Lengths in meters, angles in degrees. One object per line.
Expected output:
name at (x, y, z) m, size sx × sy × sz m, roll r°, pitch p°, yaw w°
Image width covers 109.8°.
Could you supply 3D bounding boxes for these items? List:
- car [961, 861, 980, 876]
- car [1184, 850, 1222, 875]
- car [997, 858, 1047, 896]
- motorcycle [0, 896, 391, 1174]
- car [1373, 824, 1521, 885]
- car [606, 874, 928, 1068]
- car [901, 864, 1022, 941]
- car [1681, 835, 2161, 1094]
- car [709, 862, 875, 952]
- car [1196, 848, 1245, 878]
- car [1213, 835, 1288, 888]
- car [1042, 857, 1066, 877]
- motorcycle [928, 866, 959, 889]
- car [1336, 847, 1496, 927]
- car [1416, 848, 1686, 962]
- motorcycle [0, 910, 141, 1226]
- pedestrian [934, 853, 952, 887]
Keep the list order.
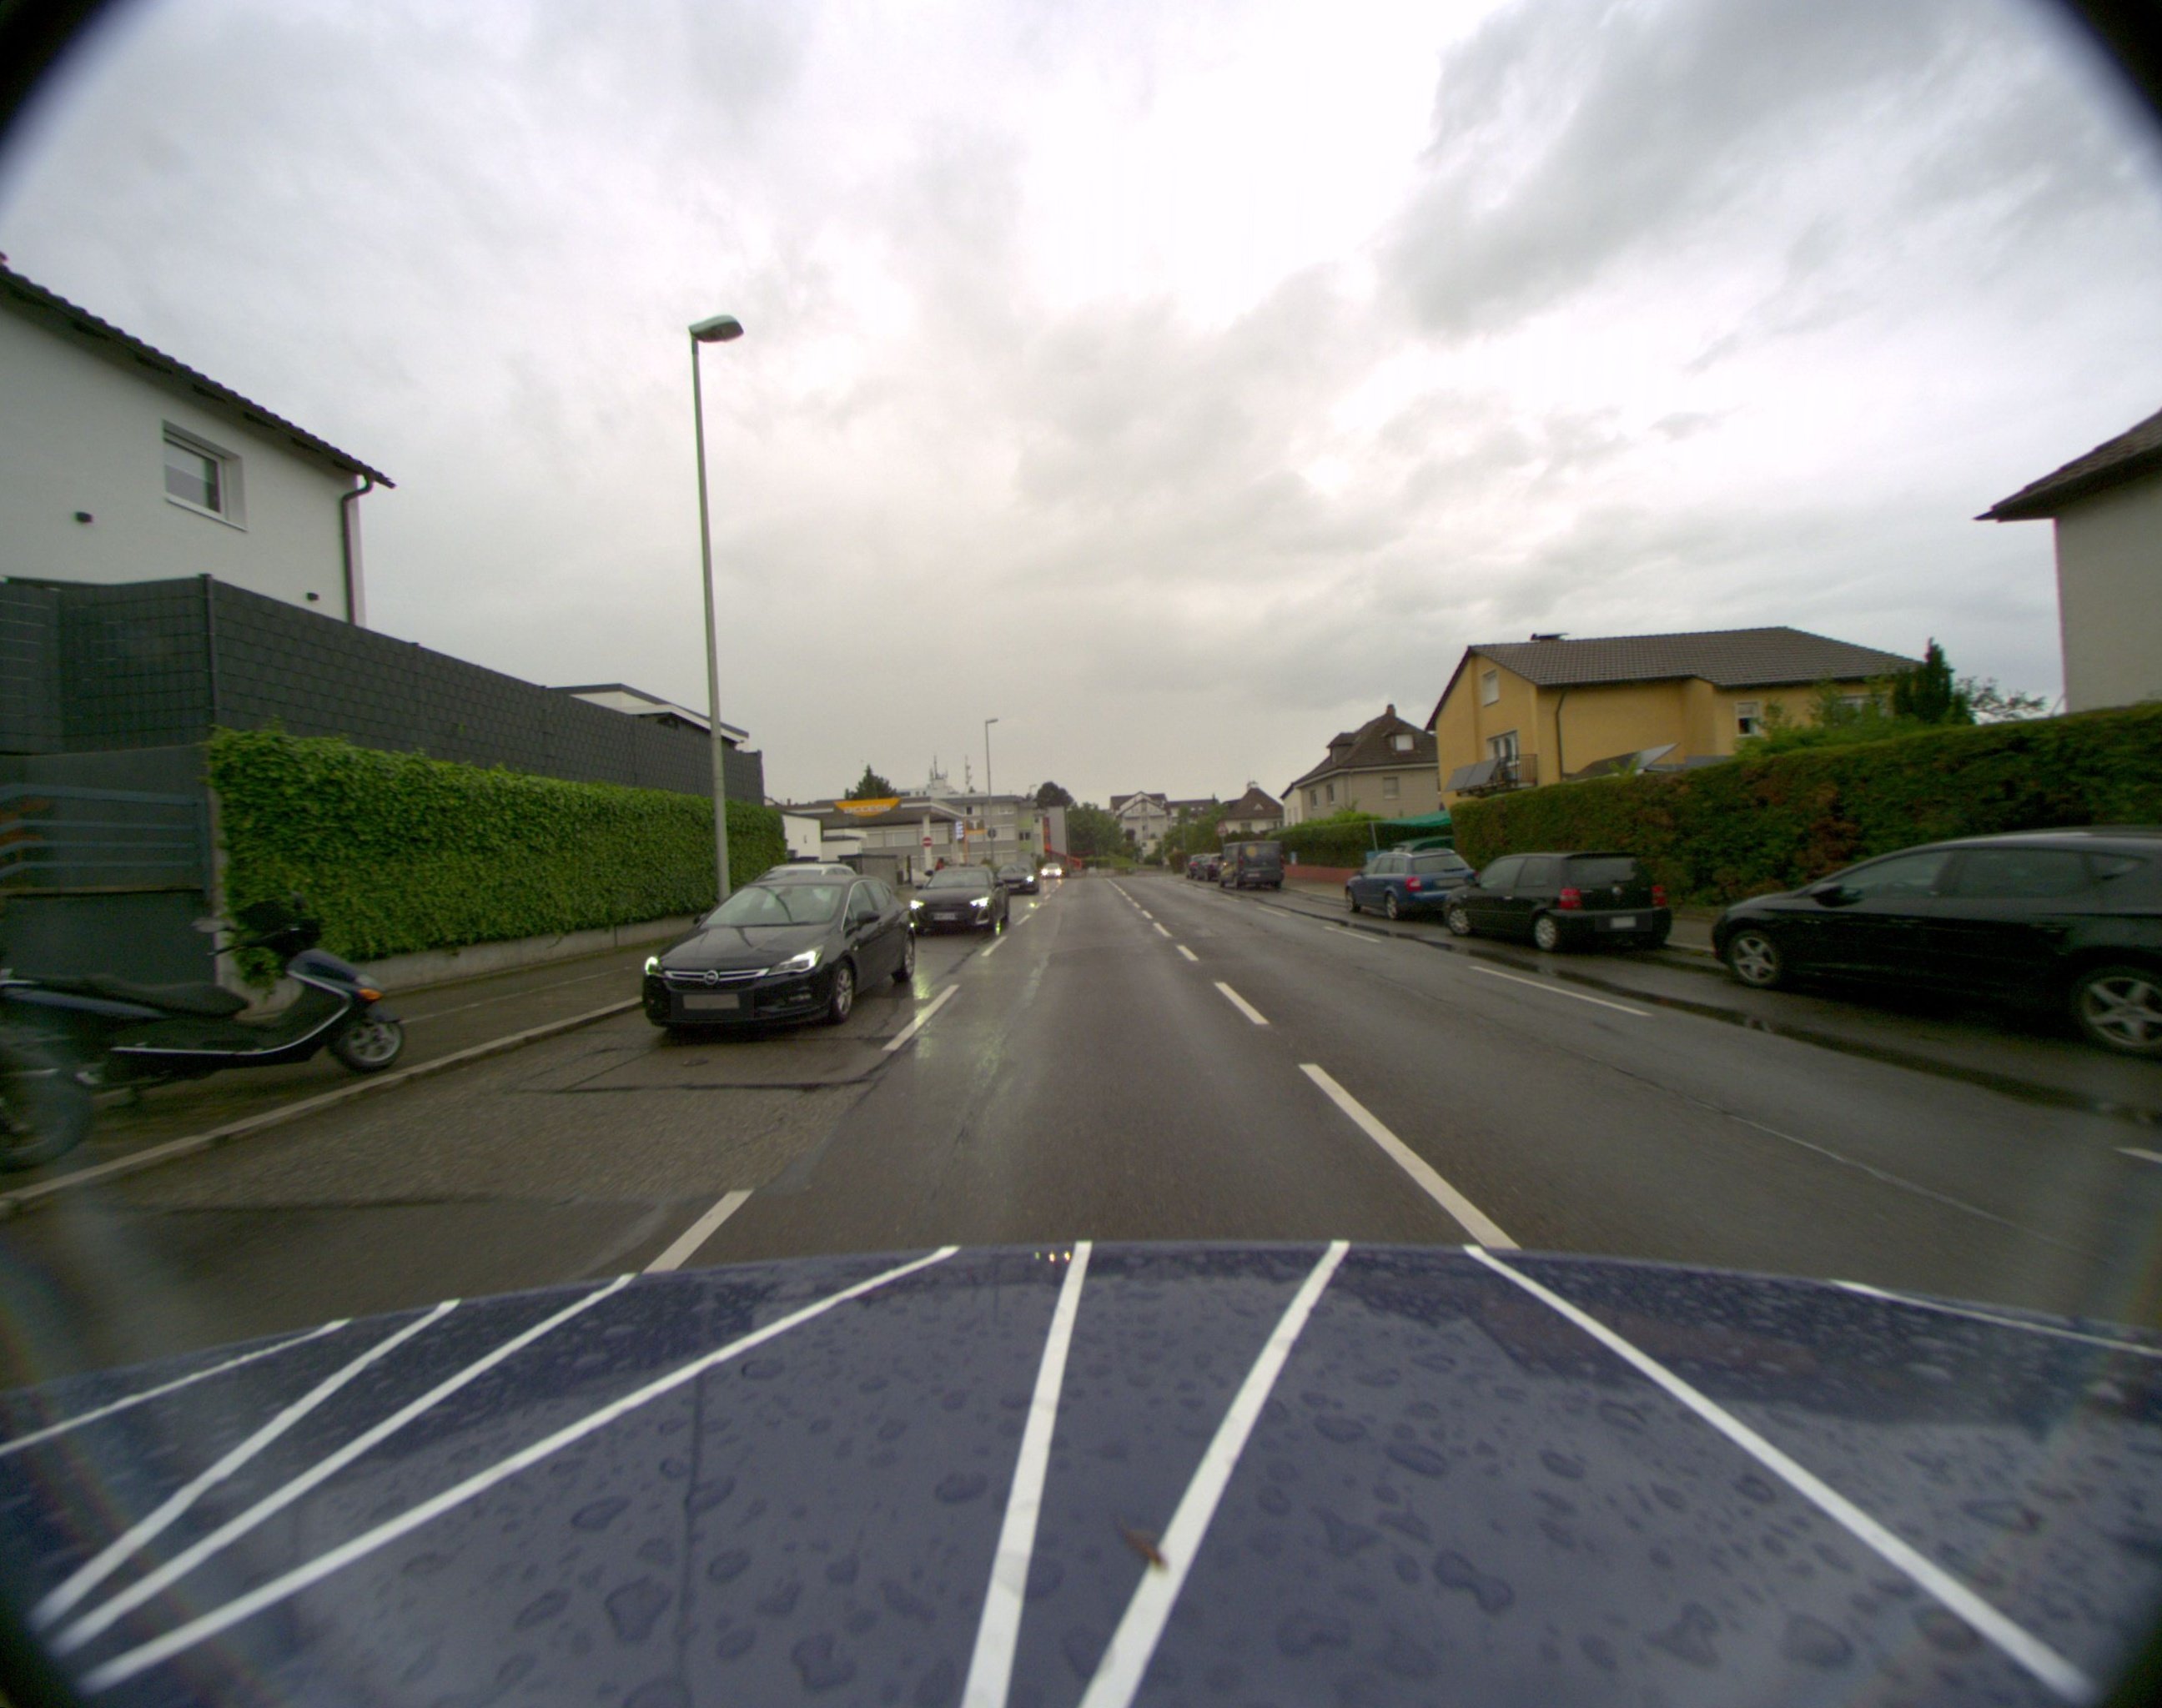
car at (-11.821, 1.509, 81.483) m, size 1.815 × 1.518 × 3.997 m, roll 1°, pitch 0°, yaw -7°
car at (7.834, 0.503, 49.168) m, size 1.754 × 1.431 × 4.129 m, roll -3°, pitch 0°, yaw 1°
car at (-2.689, 1.029, 35.459) m, size 1.872 × 1.510 × 4.000 m, roll -3°, pitch 0°, yaw 1°
motorcycle at (-5.879, 1.056, 4.885) m, size 2.093 × 1.442 × 0.820 m, roll -2°, pitch 0°, yaw -43°
car at (12.242, 0.005, 25.626) m, size 3.969 × 1.604 × 1.918 m, roll -6°, pitch 1°, yaw 2°
car at (-3.093, 1.059, 8.500) m, size 1.760 × 1.441 × 4.000 m, roll -3°, pitch 0°, yaw 2°
car at (-2.676, 1.039, 18.162) m, size 1.870 × 1.416 × 4.739 m, roll -3°, pitch 0°, yaw 3°
car at (7.434, 0.662, 6.101) m, size 1.762 × 1.524 × 4.207 m, roll -3°, pitch 0°, yaw -2°
car at (-5.956, 1.004, 16.318) m, size 1.704 × 1.501 × 4.534 m, roll -3°, pitch 0°, yaw 1°
car at (7.807, 0.464, 42.908) m, size 1.755 × 1.508 × 4.526 m, roll -3°, pitch 0°, yaw -1°
car at (7.201, 0.288, 32.866) m, size 1.918 × 1.991 × 5.086 m, roll -3°, pitch 0°, yaw -1°
car at (-2.554, 1.210, 72.639) m, size 1.998 × 1.647 × 4.000 m, roll -3°, pitch 0°, yaw 2°
motorcycle at (-6.869, 1.182, 37.894) m, size 1.388 × 1.049 × 0.464 m, roll -3°, pitch 1°, yaw 9°
car at (7.406, 0.646, 17.309) m, size 1.761 × 1.524 × 4.286 m, roll -3°, pitch 0°, yaw 1°
car at (7.046, 0.657, 11.953) m, size 1.555 × 1.423 × 4.013 m, roll -3°, pitch 0°, yaw -3°
motorcycle at (-5.916, 1.071, 3.340) m, size 2.093 × 1.442 × 0.757 m, roll -3°, pitch 1°, yaw -43°
pedestrian at (-6.898, 0.779, 38.001) m, size 0.585 × 1.646 × 0.612 m, roll -3°, pitch 1°, yaw 9°
